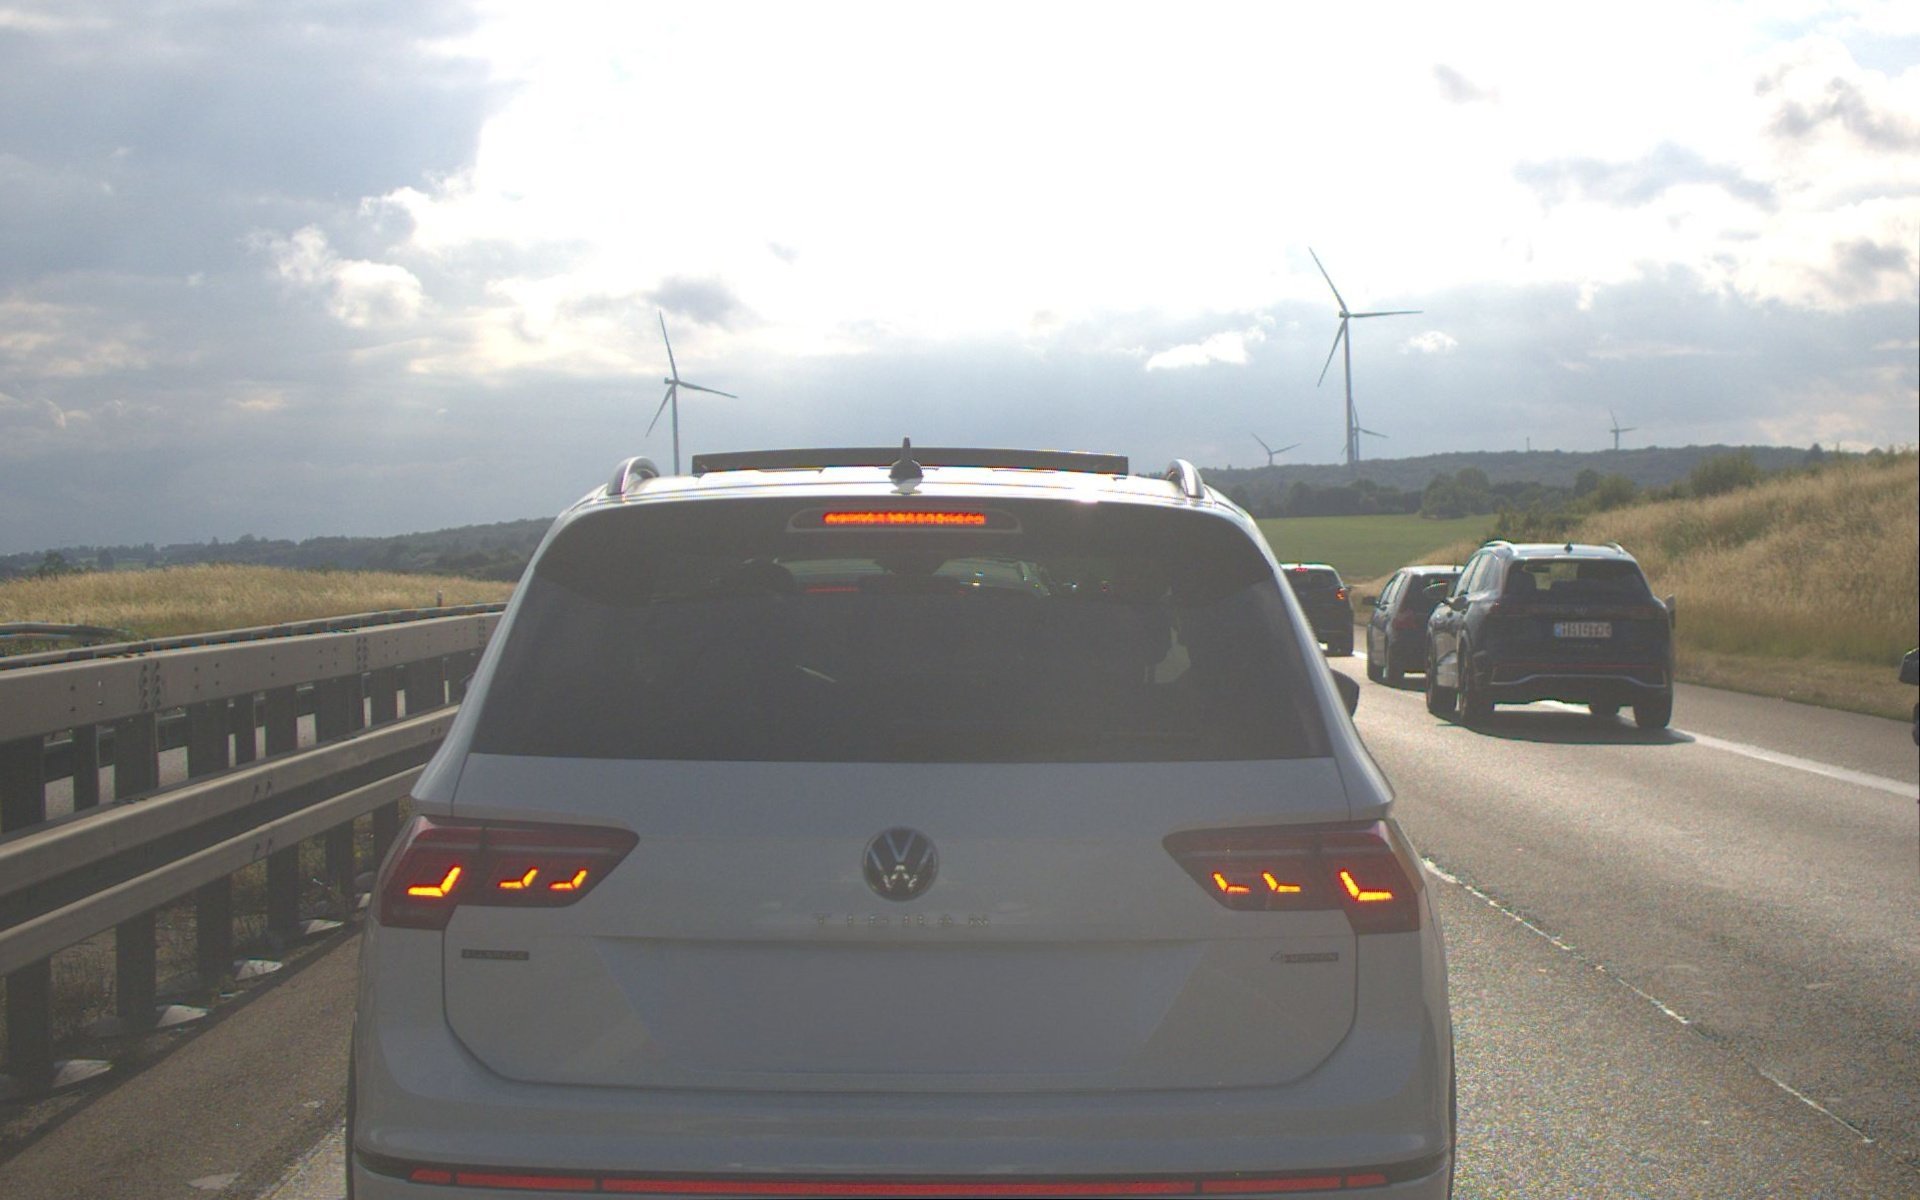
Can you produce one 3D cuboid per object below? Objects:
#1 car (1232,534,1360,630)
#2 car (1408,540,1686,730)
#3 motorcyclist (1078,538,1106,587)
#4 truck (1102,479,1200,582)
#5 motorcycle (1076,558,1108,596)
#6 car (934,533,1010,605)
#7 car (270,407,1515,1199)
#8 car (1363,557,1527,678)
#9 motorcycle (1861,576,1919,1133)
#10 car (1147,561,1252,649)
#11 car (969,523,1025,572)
[{"bbox_3d":[5.534,-0.307,57.017,1.704,1.540,4.000,0,0,-1],"label":"car"},{"bbox_3d":[5.359,0.284,31.882,1.821,1.596,4.235,1,0,0],"label":"car"},{"bbox_3d":[4.167,-1.181,108.558,0.849,1.554,0.934,0,0,-1],"label":"motorcyclist"},{"bbox_3d":[6.893,-2.529,125.485,3.184,3.581,11.130,0,1,1],"label":"truck"},{"bbox_3d":[4.164,-0.727,108.606,0.895,1.186,2.257,0,0,-1],"label":"motorcycle"},{"bbox_3d":[0.262,-0.721,80.237,1.704,1.644,4.000,0,0,-1],"label":"car"},{"bbox_3d":[-0.114,0.543,6.892,1.770,1.670,4.000,0,0,-1],"label":"car"},{"bbox_3d":[5.895,0.187,42.107,1.606,1.415,3.672,0,0,2],"label":"car"},{"bbox_3d":[2.964,0.670,8.389,0.895,1.450,2.269,0,0,-1],"label":"motorcycle"},{"bbox_3d":[4.582,0.076,66.290,1.704,1.644,4.000,0,0,-1],"label":"car"},{"bbox_3d":[1.177,-1.667,109.969,1.704,1.540,4.000,0,0,-1],"label":"car"}]
